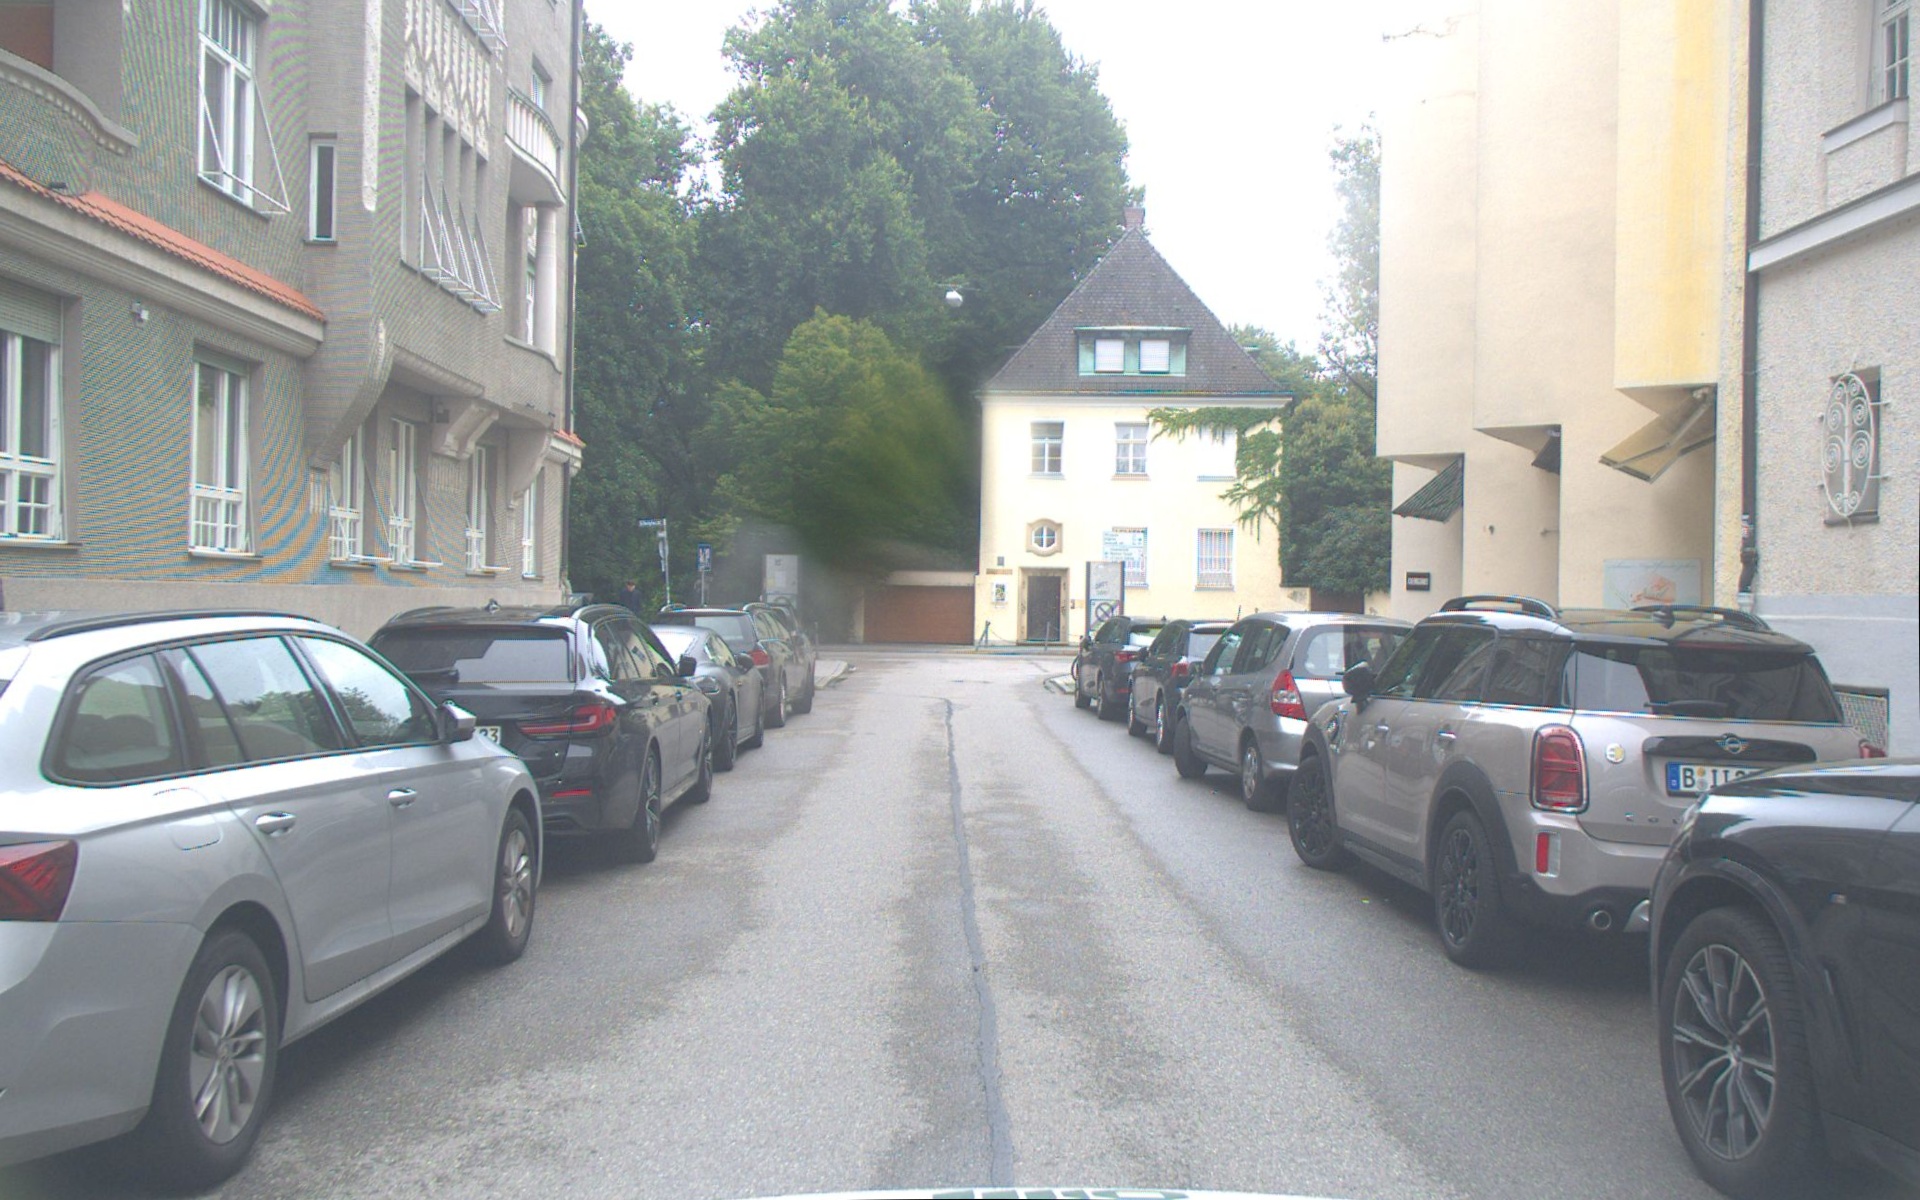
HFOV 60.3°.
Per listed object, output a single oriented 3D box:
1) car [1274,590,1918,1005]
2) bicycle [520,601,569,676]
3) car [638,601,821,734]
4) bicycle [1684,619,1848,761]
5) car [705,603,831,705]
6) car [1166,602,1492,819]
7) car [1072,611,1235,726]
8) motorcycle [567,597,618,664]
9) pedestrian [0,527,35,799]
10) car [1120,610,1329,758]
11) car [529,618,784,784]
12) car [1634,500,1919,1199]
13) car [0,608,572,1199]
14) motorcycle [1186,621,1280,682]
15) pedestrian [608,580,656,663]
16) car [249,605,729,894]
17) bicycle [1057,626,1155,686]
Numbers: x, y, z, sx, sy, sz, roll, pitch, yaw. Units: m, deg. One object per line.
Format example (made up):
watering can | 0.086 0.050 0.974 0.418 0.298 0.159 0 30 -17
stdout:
car | 2.907 0.793 8.533 1.601 1.620 3.966 1 0 -3
bicycle | -7.823 0.712 31.221 0.606 1.373 1.673 1 0 -5
car | -2.885 0.791 21.625 1.719 1.541 4.707 1 0 0
bicycle | 7.452 0.797 15.377 0.552 1.213 1.675 -2 0 -6
car | -3.042 0.829 26.632 1.669 1.541 2.911 1 0 0
car | 2.944 0.817 14.019 1.602 1.563 3.851 1 0 -5
car | 2.763 0.941 24.569 1.659 1.497 4.608 1 0 -3
motorcycle | -8.347 0.678 37.630 0.721 1.466 2.146 1 0 -2
pedestrian | -6.862 0.425 11.239 0.702 1.849 0.730 1 -1 -2
car | 2.941 0.883 19.127 1.601 1.497 3.853 1 0 -3
car | -2.800 0.882 16.144 1.719 1.354 4.096 1 0 0
car | 3.051 0.677 2.681 1.953 1.718 4.673 2 0 0
car | -2.659 0.774 5.230 1.768 1.456 4.439 -1 0 0
motorcycle | 6.391 1.206 38.703 2.050 1.379 0.811 1 -1 -24
pedestrian | -7.337 0.477 36.996 0.821 1.818 0.936 1 -1 2
car | -2.746 0.782 10.895 1.953 1.474 4.776 1 0 -2
bicycle | 2.820 1.065 31.931 1.756 1.104 0.665 0 1 26
